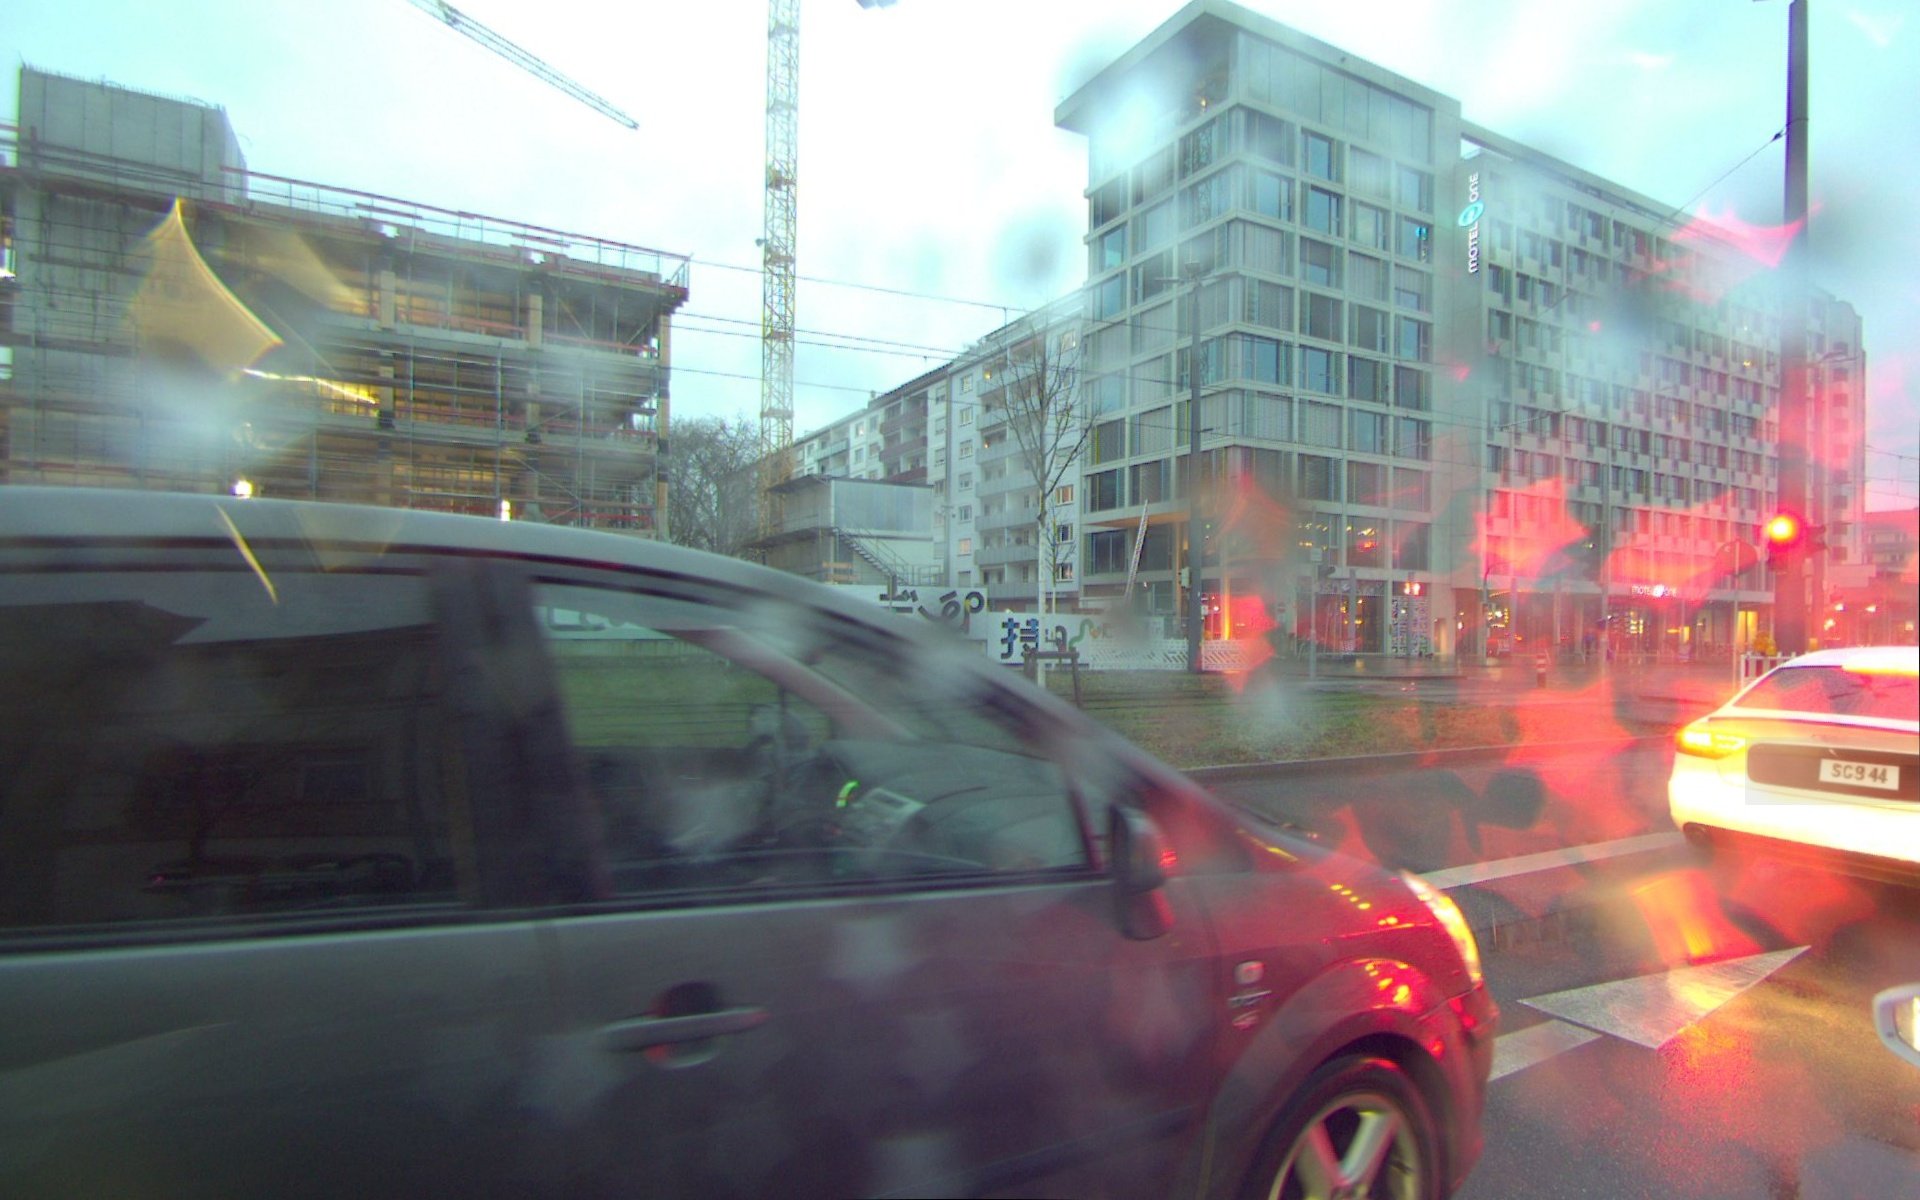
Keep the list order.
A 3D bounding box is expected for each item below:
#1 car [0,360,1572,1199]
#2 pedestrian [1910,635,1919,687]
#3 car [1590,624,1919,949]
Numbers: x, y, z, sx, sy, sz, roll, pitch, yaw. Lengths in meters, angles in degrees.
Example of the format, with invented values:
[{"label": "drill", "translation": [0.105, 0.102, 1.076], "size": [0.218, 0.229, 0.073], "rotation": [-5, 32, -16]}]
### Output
[{"label": "car", "translation": [-0.788, 0.633, 1.999], "size": [4.089, 1.668, 1.801], "rotation": [1, 0, -32]}, {"label": "pedestrian", "translation": [32.801, 2.094, 34.049], "size": [0.808, 1.734, 0.782], "rotation": [2, 0, -45]}, {"label": "car", "translation": [6.061, 0.928, 6.234], "size": [4.320, 1.475, 1.983], "rotation": [1, 0, -32]}]
